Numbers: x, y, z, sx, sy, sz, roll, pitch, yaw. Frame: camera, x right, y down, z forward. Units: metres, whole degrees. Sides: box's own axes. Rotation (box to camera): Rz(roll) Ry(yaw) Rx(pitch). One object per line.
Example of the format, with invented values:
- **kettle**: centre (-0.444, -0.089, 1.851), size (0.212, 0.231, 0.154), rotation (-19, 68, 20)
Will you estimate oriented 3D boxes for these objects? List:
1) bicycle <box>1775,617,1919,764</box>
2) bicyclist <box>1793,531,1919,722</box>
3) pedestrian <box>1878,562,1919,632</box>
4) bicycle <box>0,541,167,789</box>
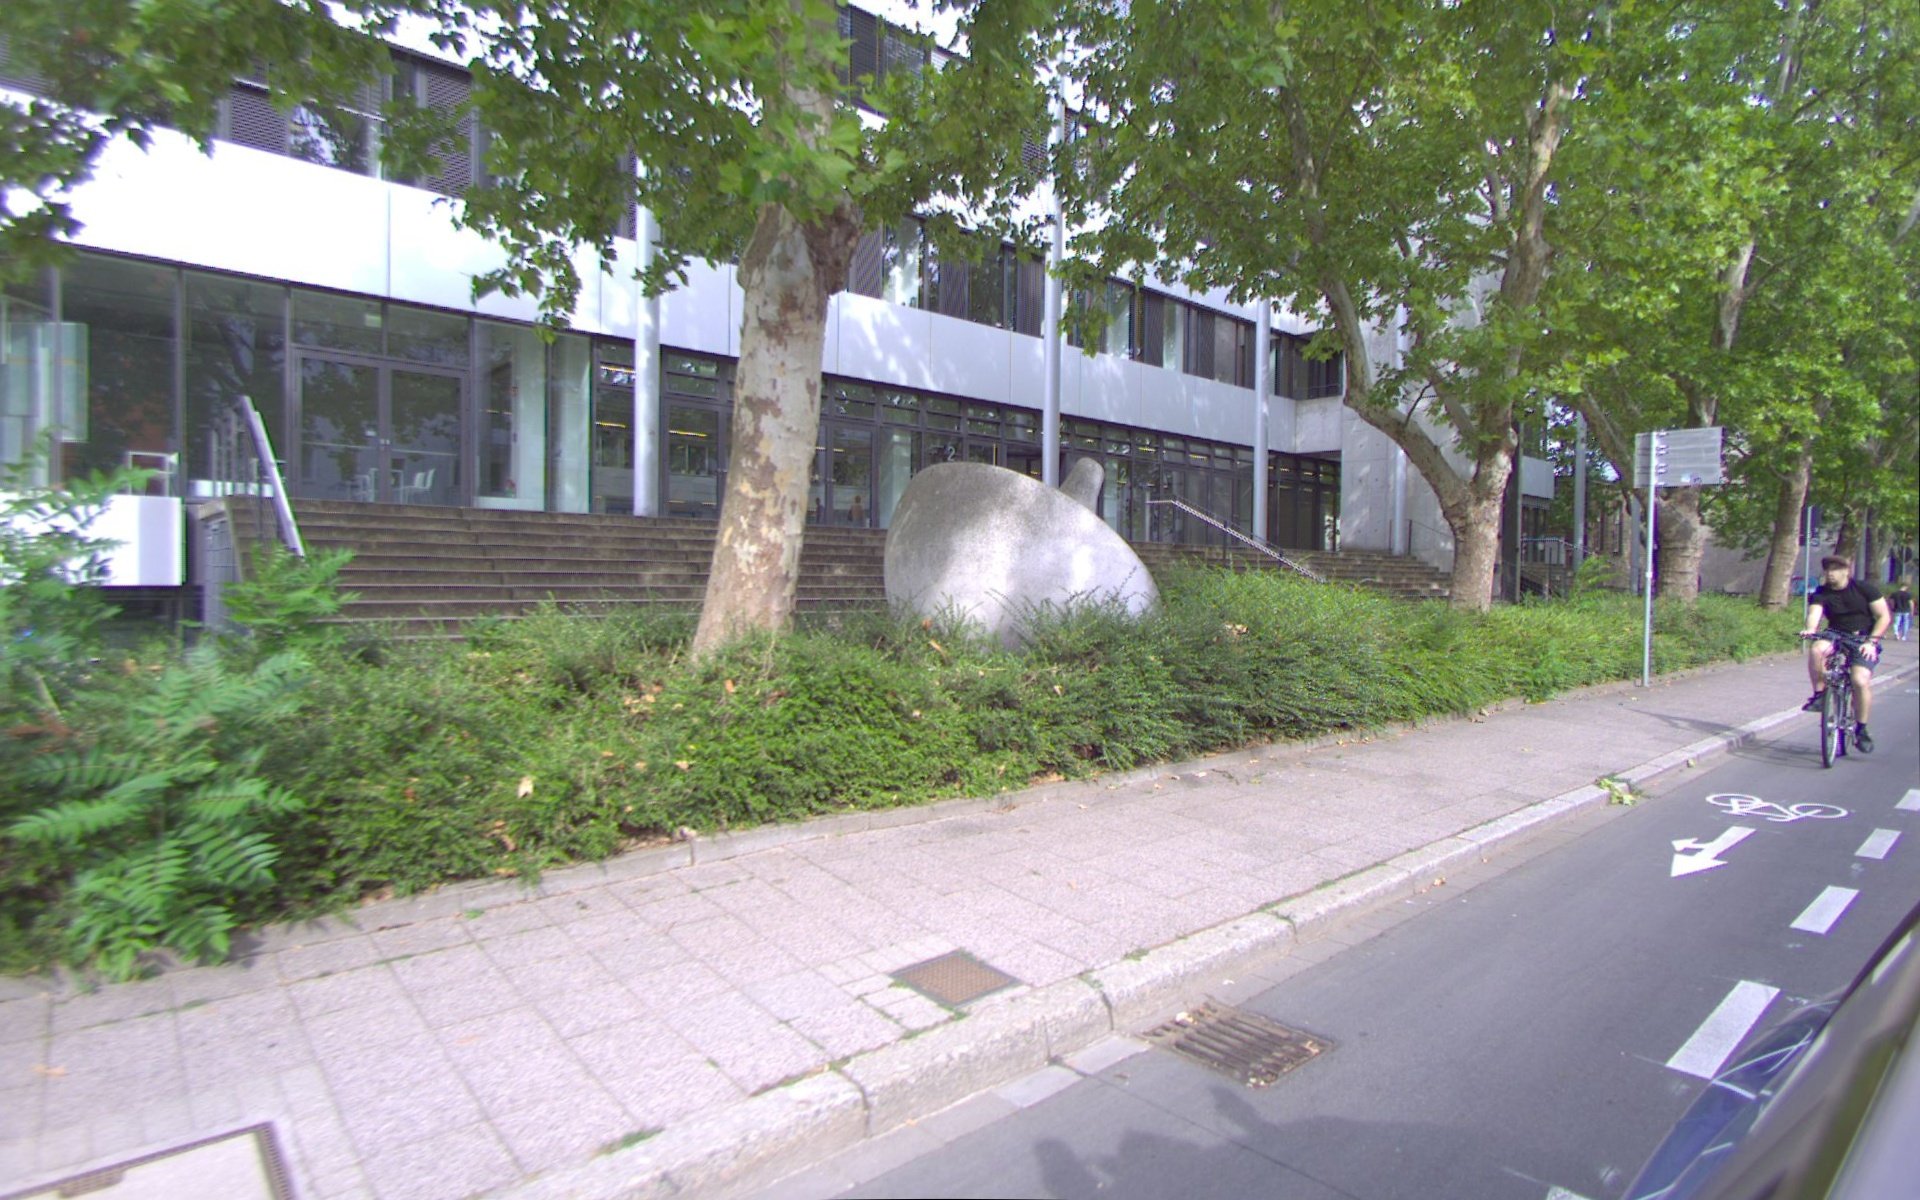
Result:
- **bicycle**: centre (8.047, 0.738, 8.996), size (1.967, 1.145, 0.773), rotation (0, -1, -37)
- **bicyclist**: centre (8.045, 0.223, 9.012), size (0.786, 1.603, 0.773), rotation (0, -1, -37)
- **pedestrian**: centre (27.934, -0.095, 29.931), size (0.979, 2.039, 1.003), rotation (0, 0, -39)
- **bicycle**: centre (-4.966, 0.312, 4.940), size (1.695, 1.183, 0.699), rotation (-1, 0, -41)
